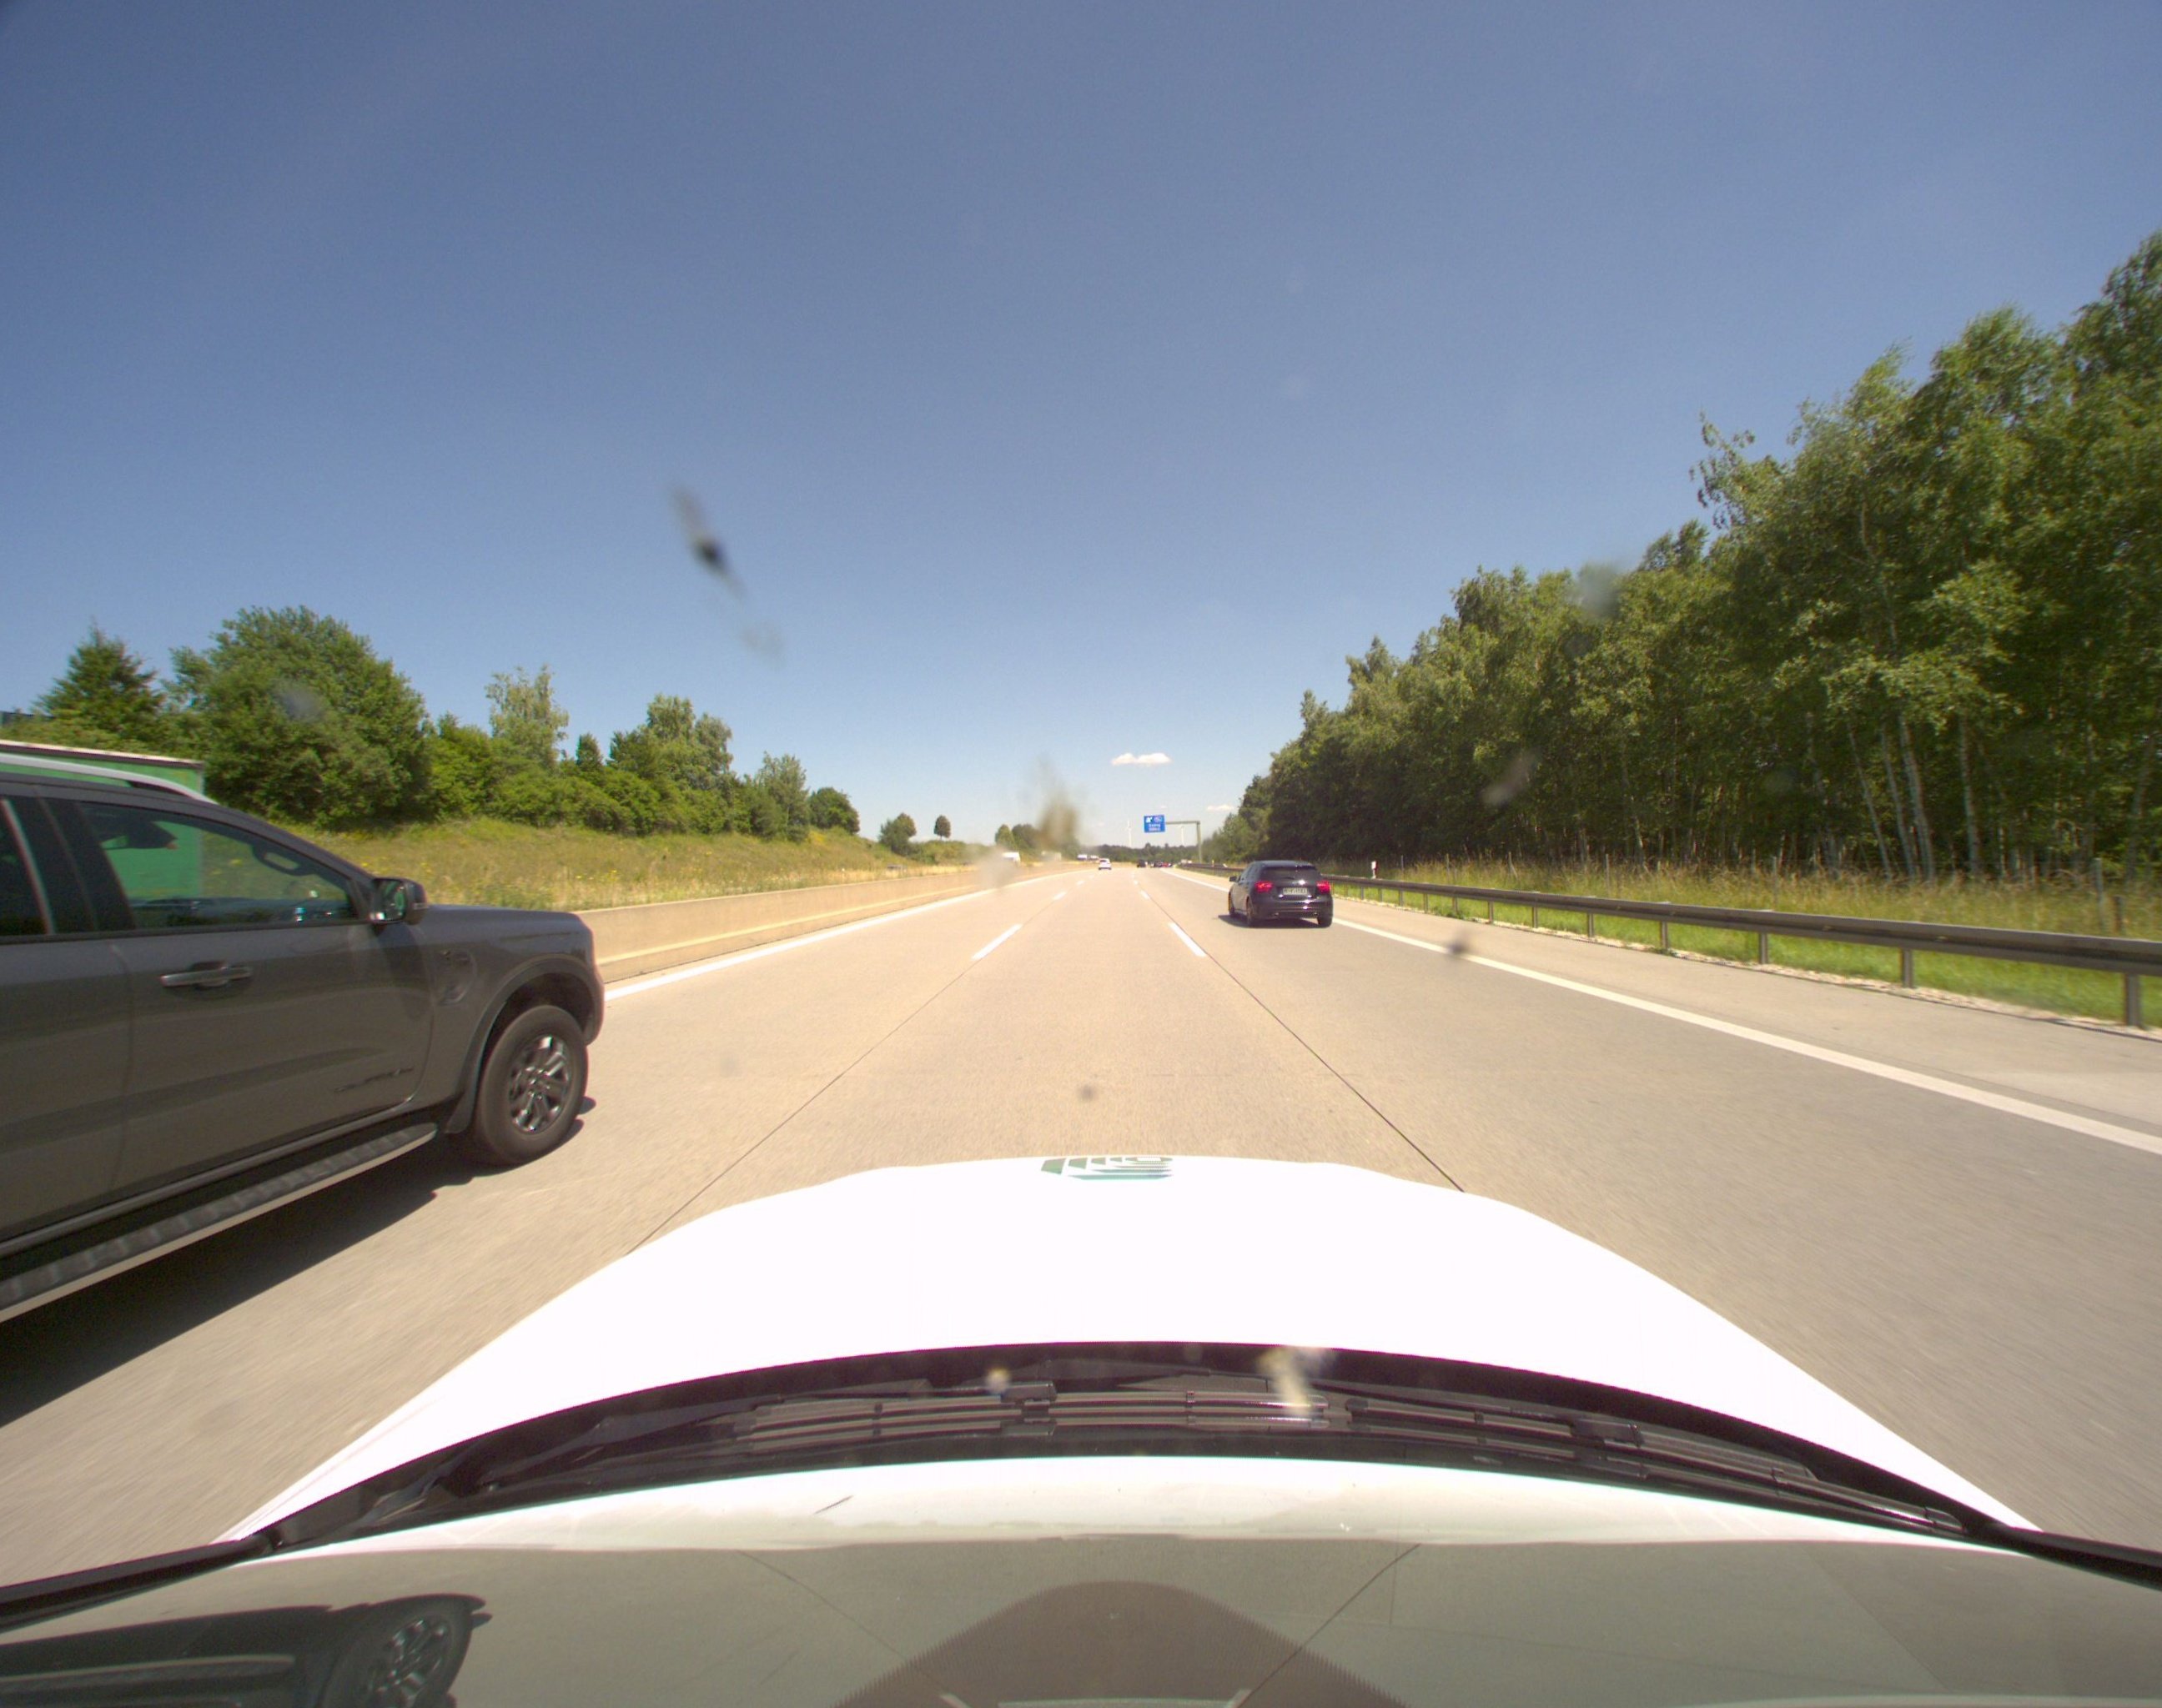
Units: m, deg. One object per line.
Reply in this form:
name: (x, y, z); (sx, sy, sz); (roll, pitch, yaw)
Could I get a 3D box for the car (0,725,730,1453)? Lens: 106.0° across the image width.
car: (-3.709, 0.597, 2.814); (1.986, 1.846, 6.532); (0, 0, 2)

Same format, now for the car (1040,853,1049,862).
car: (-8.291, 0.789, 185.126); (1.856, 1.816, 4.002); (-1, 0, 2)

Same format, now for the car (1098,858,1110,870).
car: (3.577, 1.518, 126.045); (1.838, 1.708, 6.038); (-1, 0, 2)

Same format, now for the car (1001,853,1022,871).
car: (-8.037, 0.869, 94.358); (1.986, 2.014, 4.002); (-1, 0, 2)

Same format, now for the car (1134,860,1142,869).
car: (13.432, 2.497, 191.571); (1.820, 1.937, 3.811); (-1, 0, 2)

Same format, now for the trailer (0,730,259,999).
trailer: (-20.233, 0.199, 9.972); (3.144, 4.607, 16.445); (-1, 0, 2)

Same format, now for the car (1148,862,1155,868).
car: (22.067, 3.447, 254.965); (1.738, 1.990, 4.001); (-1, 0, 1)

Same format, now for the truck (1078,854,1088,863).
truck: (0.597, 1.409, 251.284); (2.700, 2.659, 10.186); (-1, 0, 2)

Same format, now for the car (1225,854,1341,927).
car: (4.509, 0.764, 18.791); (1.902, 1.492, 4.196); (0, 0, 4)

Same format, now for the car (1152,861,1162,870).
car: (16.772, 2.529, 179.331); (1.821, 1.907, 4.000); (-1, 0, 1)

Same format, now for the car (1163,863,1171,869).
car: (25.138, 3.459, 238.369); (1.781, 1.810, 3.747); (-1, 0, 1)
